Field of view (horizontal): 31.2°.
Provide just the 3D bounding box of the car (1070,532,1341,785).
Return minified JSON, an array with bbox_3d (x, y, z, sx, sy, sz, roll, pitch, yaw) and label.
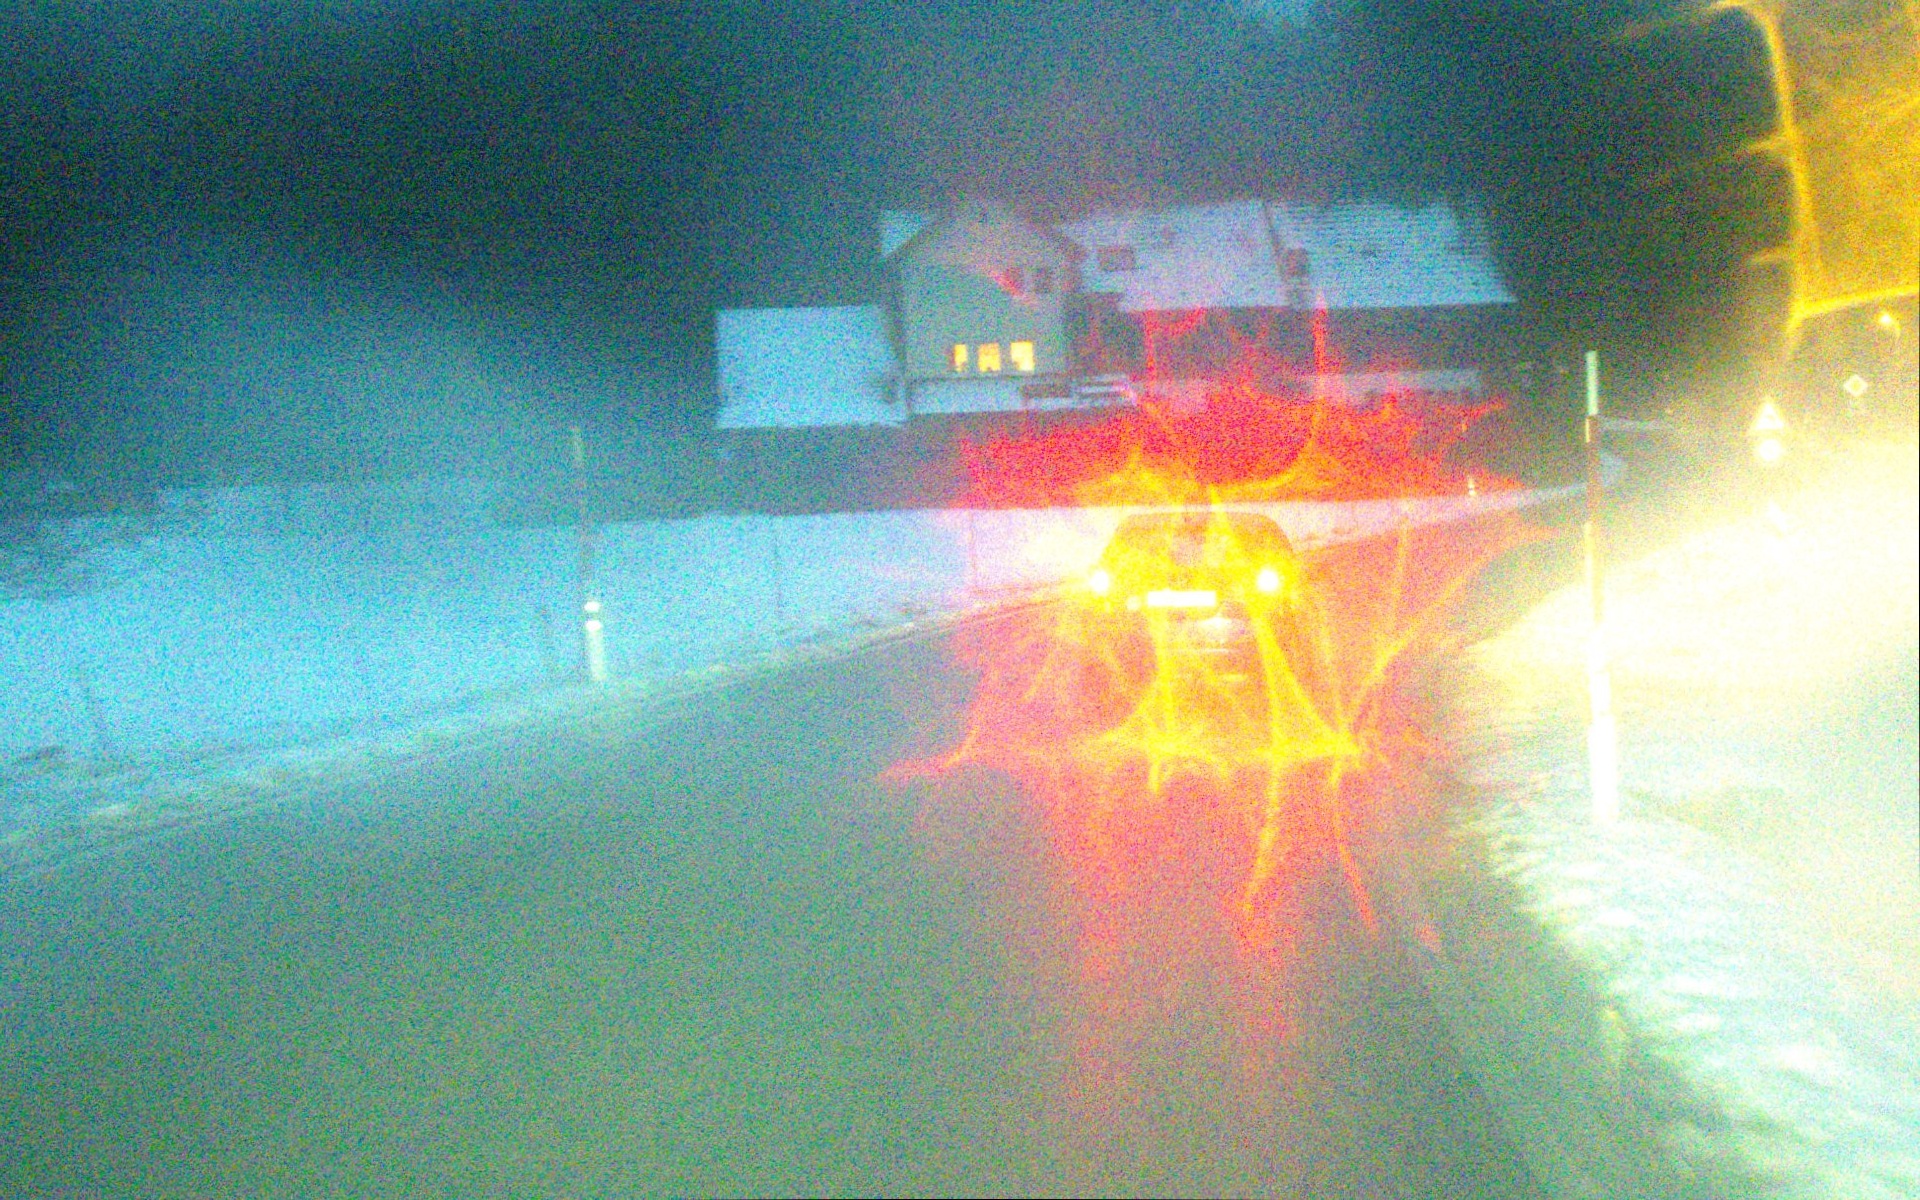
[{"bbox_3d":[1.895,0.416,27.535,1.822,1.790,3.578,-3,1,0],"label":"car"}]
